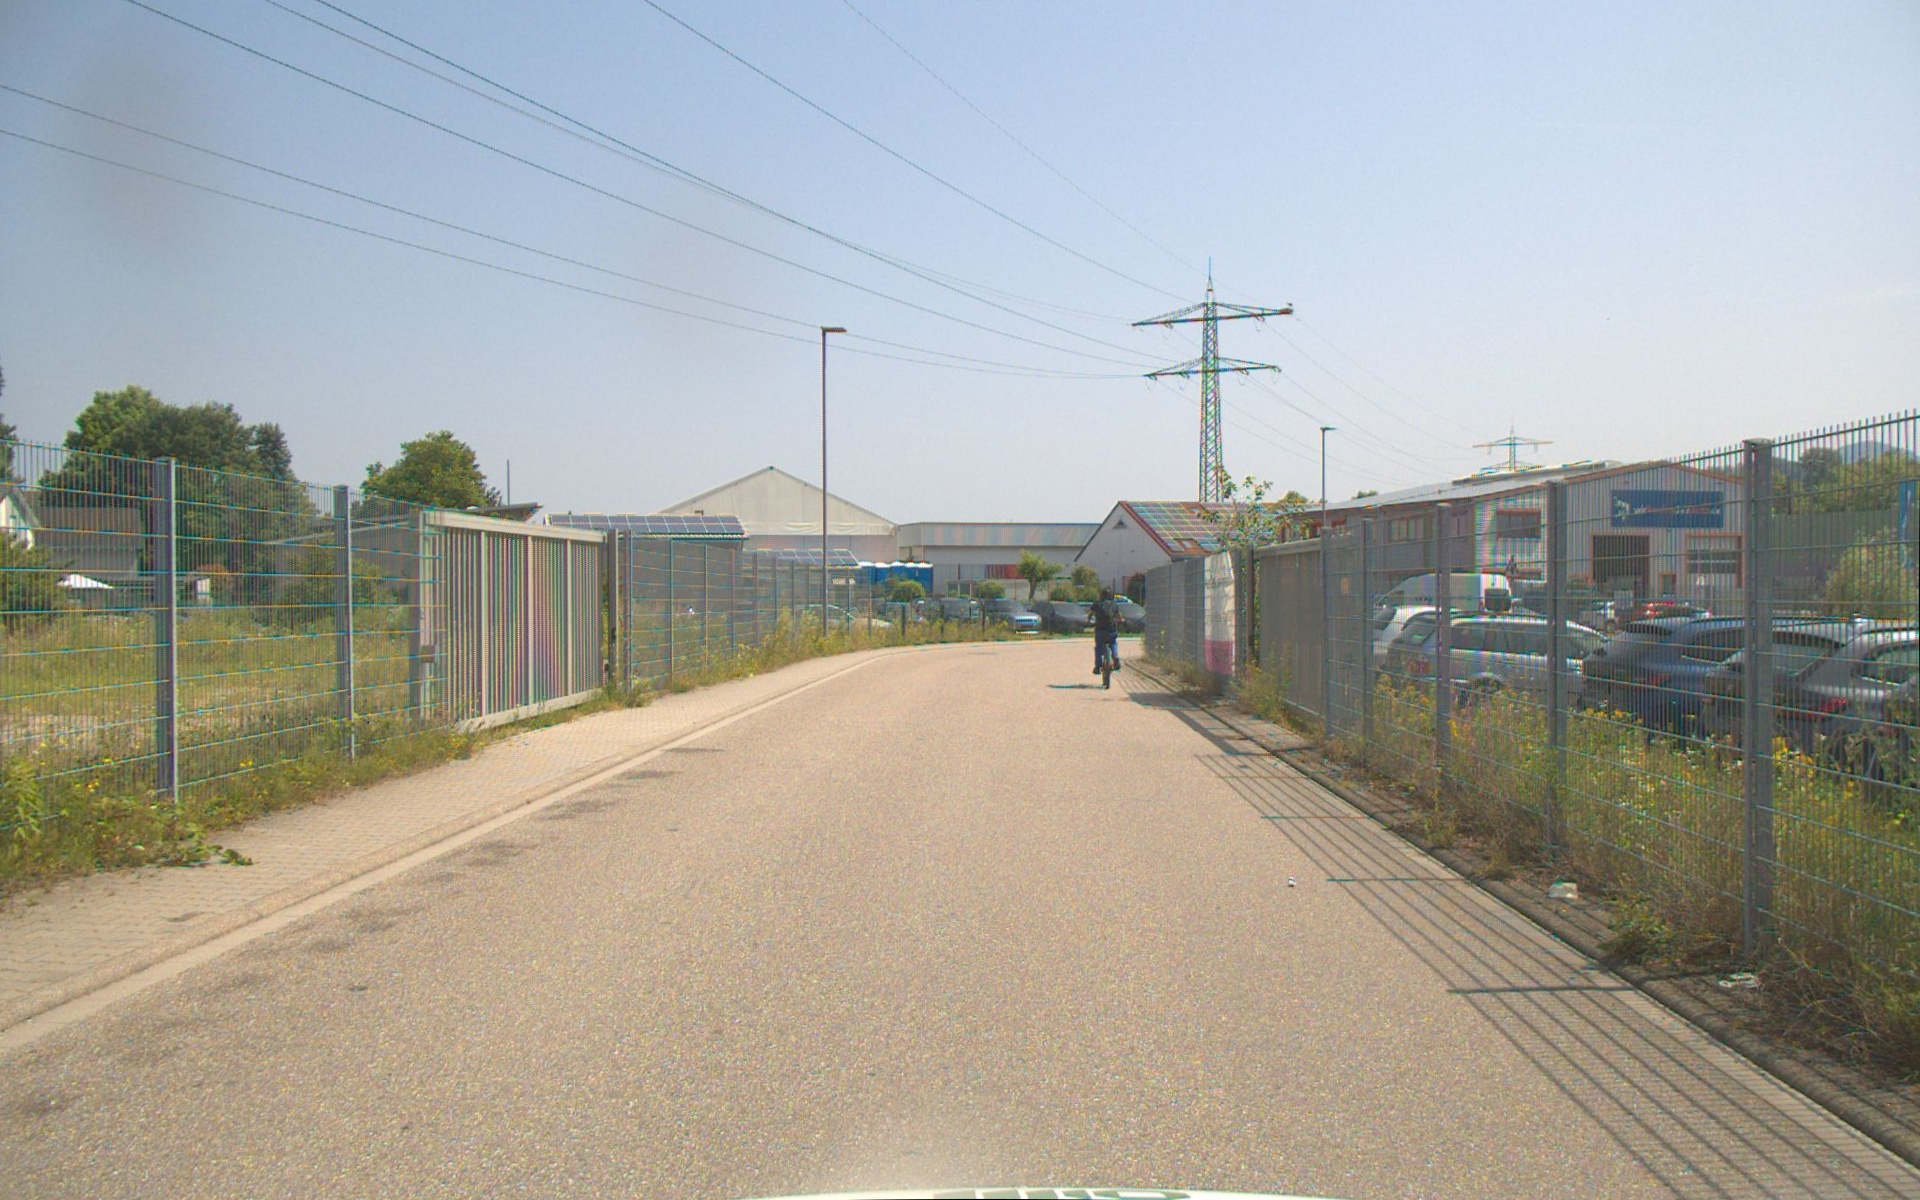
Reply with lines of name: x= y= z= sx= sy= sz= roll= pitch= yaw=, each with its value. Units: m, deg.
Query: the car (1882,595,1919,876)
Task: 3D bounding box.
car: x=7.134 y=0.776 z=7.908 sx=4.418 sy=1.430 sz=1.838 roll=2 pitch=0 yaw=-1

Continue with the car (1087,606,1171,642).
car: x=7.296 y=1.013 z=71.834 sx=1.964 sy=1.460 sz=4.643 roll=0 pitch=0 yaw=-17

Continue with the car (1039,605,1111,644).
car: x=4.838 y=1.019 z=70.088 sx=1.833 sy=1.581 sz=3.752 roll=0 pitch=0 yaw=-17

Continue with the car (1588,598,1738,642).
car: x=21.713 y=0.592 z=51.150 sx=1.888 sy=1.300 sz=3.875 roll=0 pitch=0 yaw=-38

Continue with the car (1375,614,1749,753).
car: x=7.521 y=1.025 z=20.894 sx=4.080 sy=1.499 sz=1.637 roll=3 pitch=0 yaw=-2

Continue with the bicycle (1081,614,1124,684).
bicycle: x=2.363 y=0.795 z=27.435 sx=0.670 sy=1.070 sz=1.902 roll=1 pitch=0 yaw=5

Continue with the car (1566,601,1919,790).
car: x=7.793 y=0.823 z=14.318 sx=4.415 sy=1.430 sz=1.768 roll=3 pitch=0 yaw=3

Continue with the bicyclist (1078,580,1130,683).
bicyclist: x=2.392 y=0.500 z=27.406 sx=0.824 sy=1.646 sz=1.040 roll=1 pitch=1 yaw=5

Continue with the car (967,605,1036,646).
car: x=1.697 y=1.049 z=69.259 sx=1.833 sy=1.672 sz=3.616 roll=0 pitch=0 yaw=-17

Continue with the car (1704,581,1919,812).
car: x=7.661 y=0.697 z=11.260 sx=4.416 sy=1.430 sz=1.638 roll=3 pitch=0 yaw=1

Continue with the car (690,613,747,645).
car: x=-10.247 y=1.213 z=70.043 sx=1.834 sy=1.321 sz=3.422 roll=0 pitch=0 yaw=-19
